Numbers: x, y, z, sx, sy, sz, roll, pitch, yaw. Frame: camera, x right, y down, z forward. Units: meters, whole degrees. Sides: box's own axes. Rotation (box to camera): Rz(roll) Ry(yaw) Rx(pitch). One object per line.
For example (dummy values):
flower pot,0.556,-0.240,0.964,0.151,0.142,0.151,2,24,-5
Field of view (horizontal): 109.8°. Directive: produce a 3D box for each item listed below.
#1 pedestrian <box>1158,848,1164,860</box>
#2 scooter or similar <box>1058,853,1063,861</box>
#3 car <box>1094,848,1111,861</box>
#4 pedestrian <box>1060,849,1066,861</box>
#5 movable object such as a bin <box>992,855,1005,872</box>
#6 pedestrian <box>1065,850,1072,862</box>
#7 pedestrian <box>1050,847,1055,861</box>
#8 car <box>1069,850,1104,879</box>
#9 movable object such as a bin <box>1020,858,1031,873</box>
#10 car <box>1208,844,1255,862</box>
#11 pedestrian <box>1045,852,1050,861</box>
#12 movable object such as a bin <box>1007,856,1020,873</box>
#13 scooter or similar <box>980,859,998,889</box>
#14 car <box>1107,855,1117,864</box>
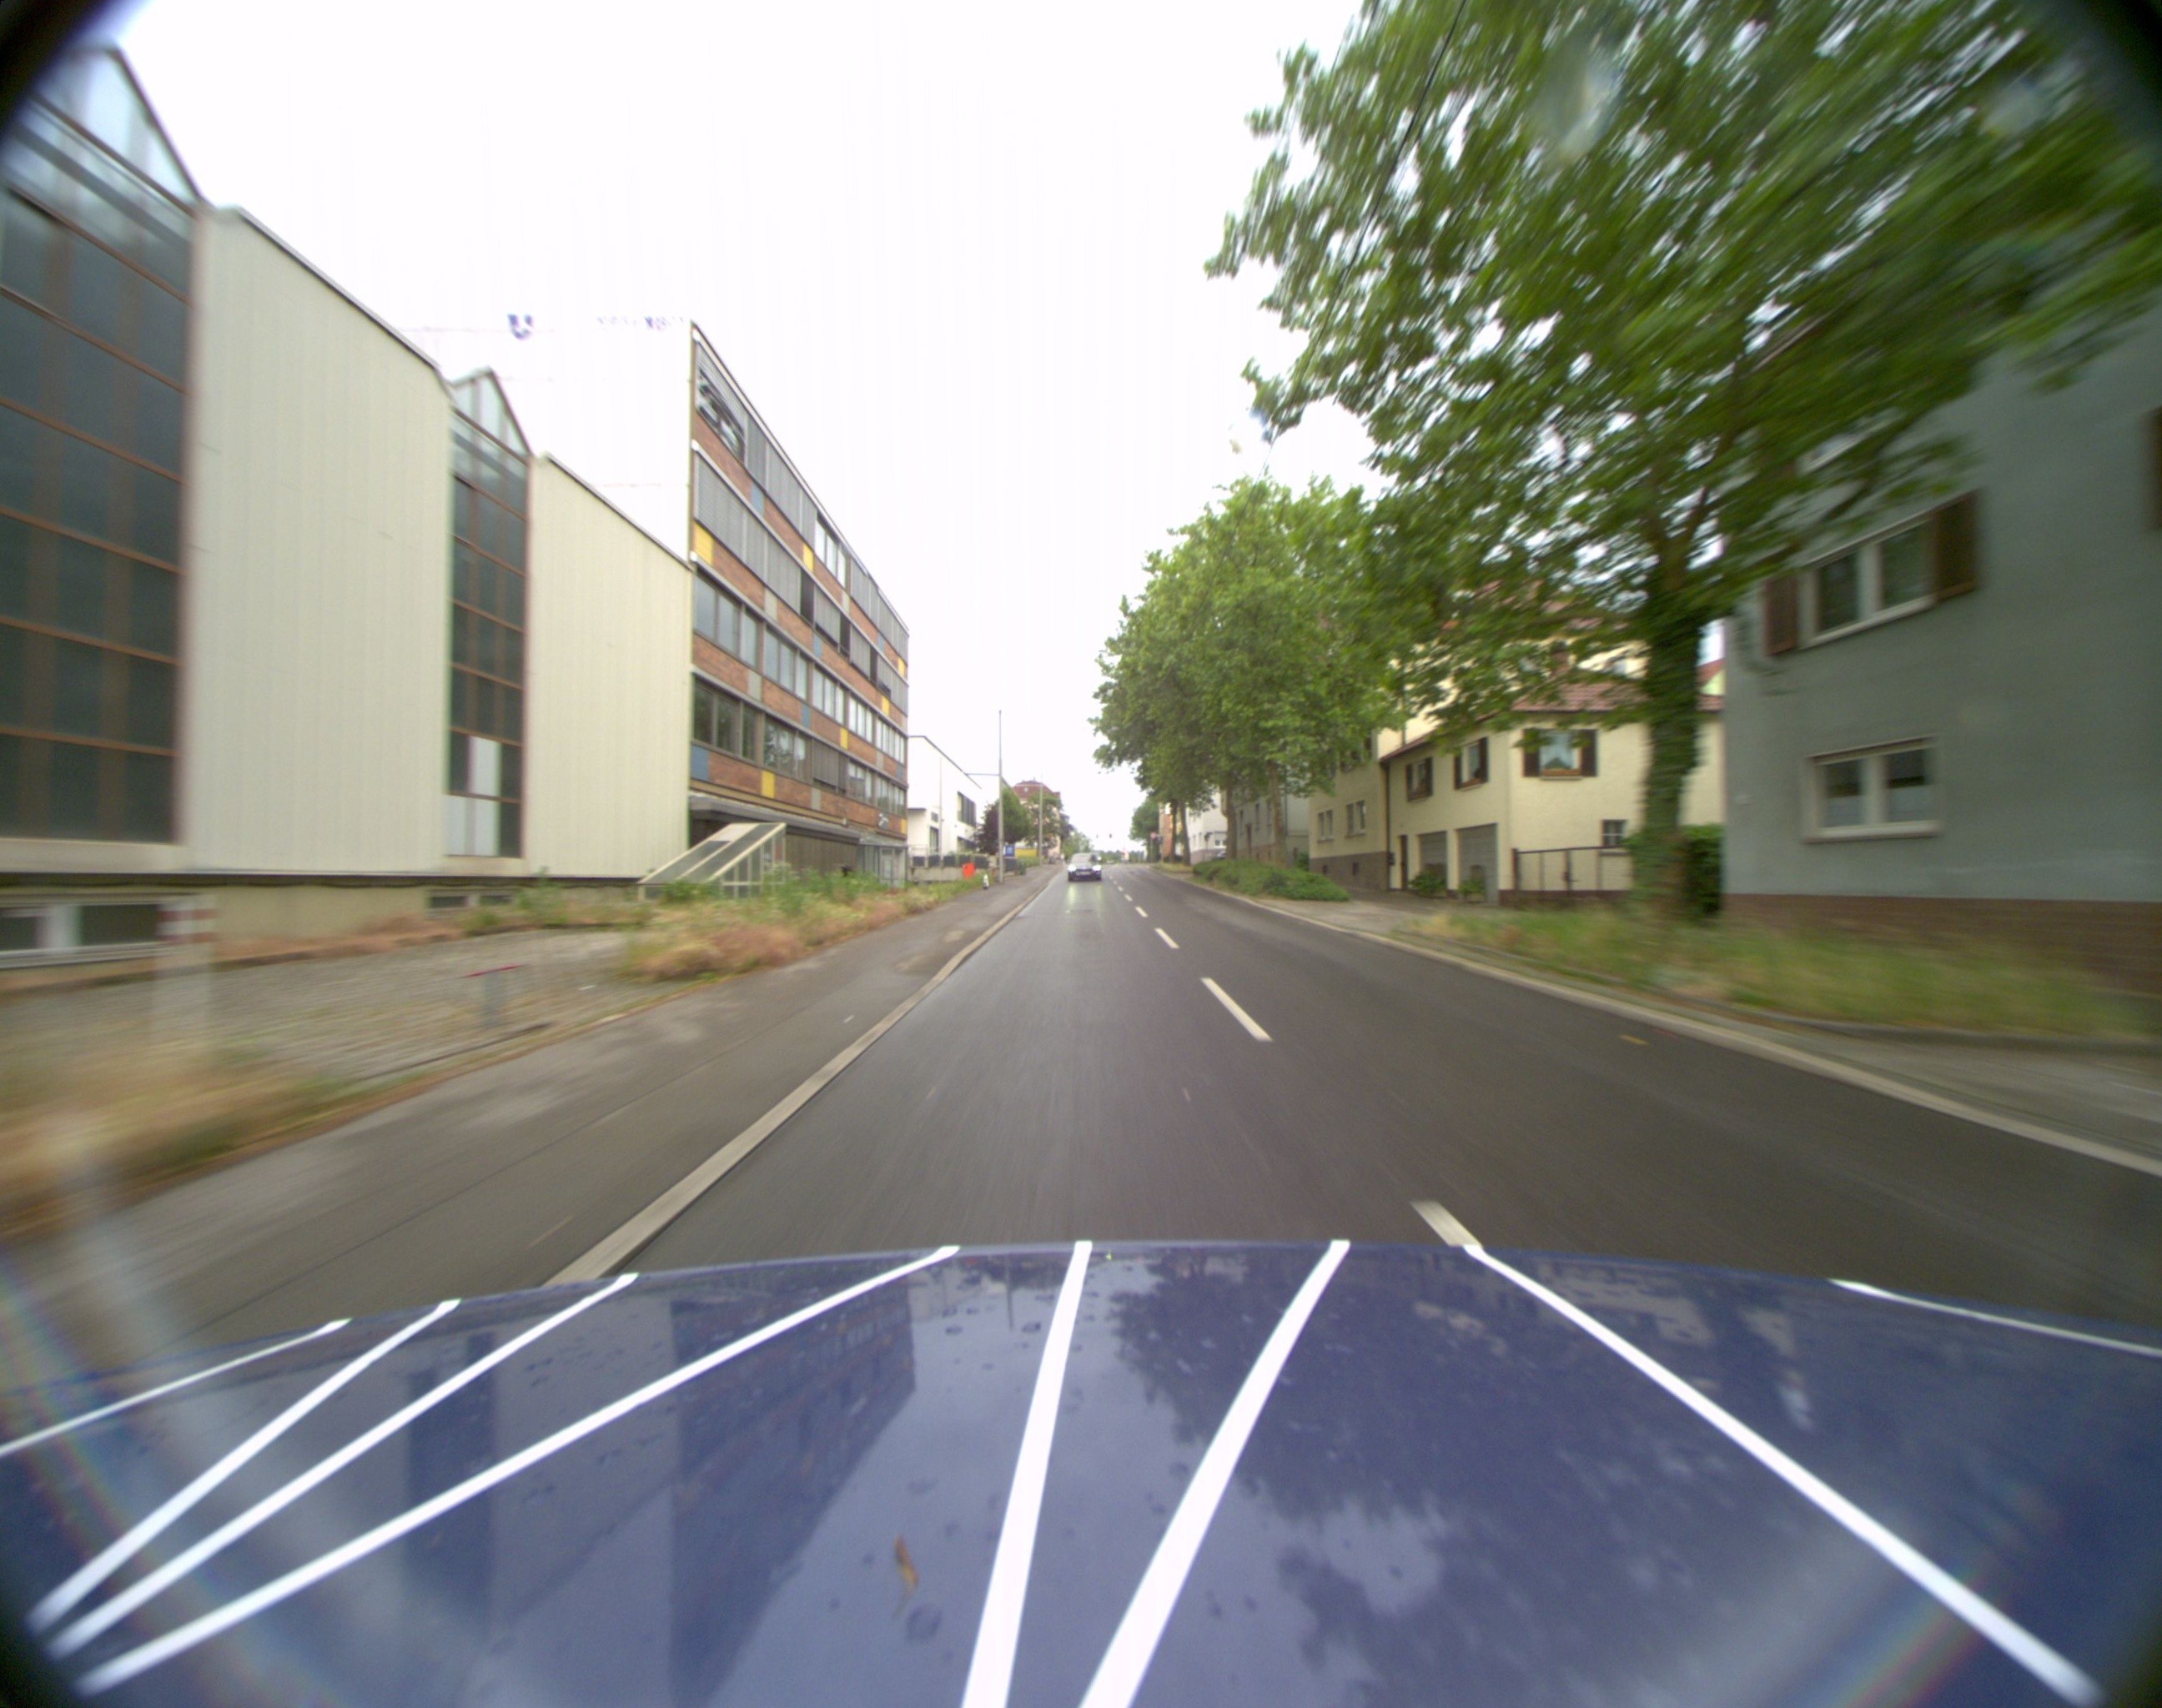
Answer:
pedestrian,11.321,-0.033,107.538,0.817,1.669,0.993,-2,1,-1
scooter or similar,-3.002,0.441,110.109,0.619,1.133,0.567,1,0,-4
car,2.525,0.061,88.083,1.837,1.430,4.000,0,1,3
pedestrian,-2.736,0.165,113.951,0.634,1.864,0.486,2,0,-37
movable object such as a bin,-5.422,0.616,49.773,0.696,1.076,0.778,2,1,2
pedestrian,-1.877,0.287,114.127,0.637,1.700,0.747,2,0,-33
pedestrian,-3.864,0.022,103.894,0.648,1.820,0.741,1,0,-4
car,0.348,0.598,41.837,1.837,1.429,4.002,-1,-3,2
movable object such as a bin,-3.650,0.730,49.949,0.621,0.931,0.686,2,1,2
car,14.303,-0.063,72.348,3.997,1.444,2.000,-4,0,0
pedestrian,-4.752,0.346,108.031,0.662,1.192,0.741,1,0,-4
movable object such as a bin,-4.442,0.686,49.806,0.696,1.076,0.778,2,1,2
scooter or similar,-3.762,0.801,31.048,0.607,1.155,1.699,0,1,-4
car,6.953,1.177,171.004,1.886,1.859,4.453,-6,0,1
